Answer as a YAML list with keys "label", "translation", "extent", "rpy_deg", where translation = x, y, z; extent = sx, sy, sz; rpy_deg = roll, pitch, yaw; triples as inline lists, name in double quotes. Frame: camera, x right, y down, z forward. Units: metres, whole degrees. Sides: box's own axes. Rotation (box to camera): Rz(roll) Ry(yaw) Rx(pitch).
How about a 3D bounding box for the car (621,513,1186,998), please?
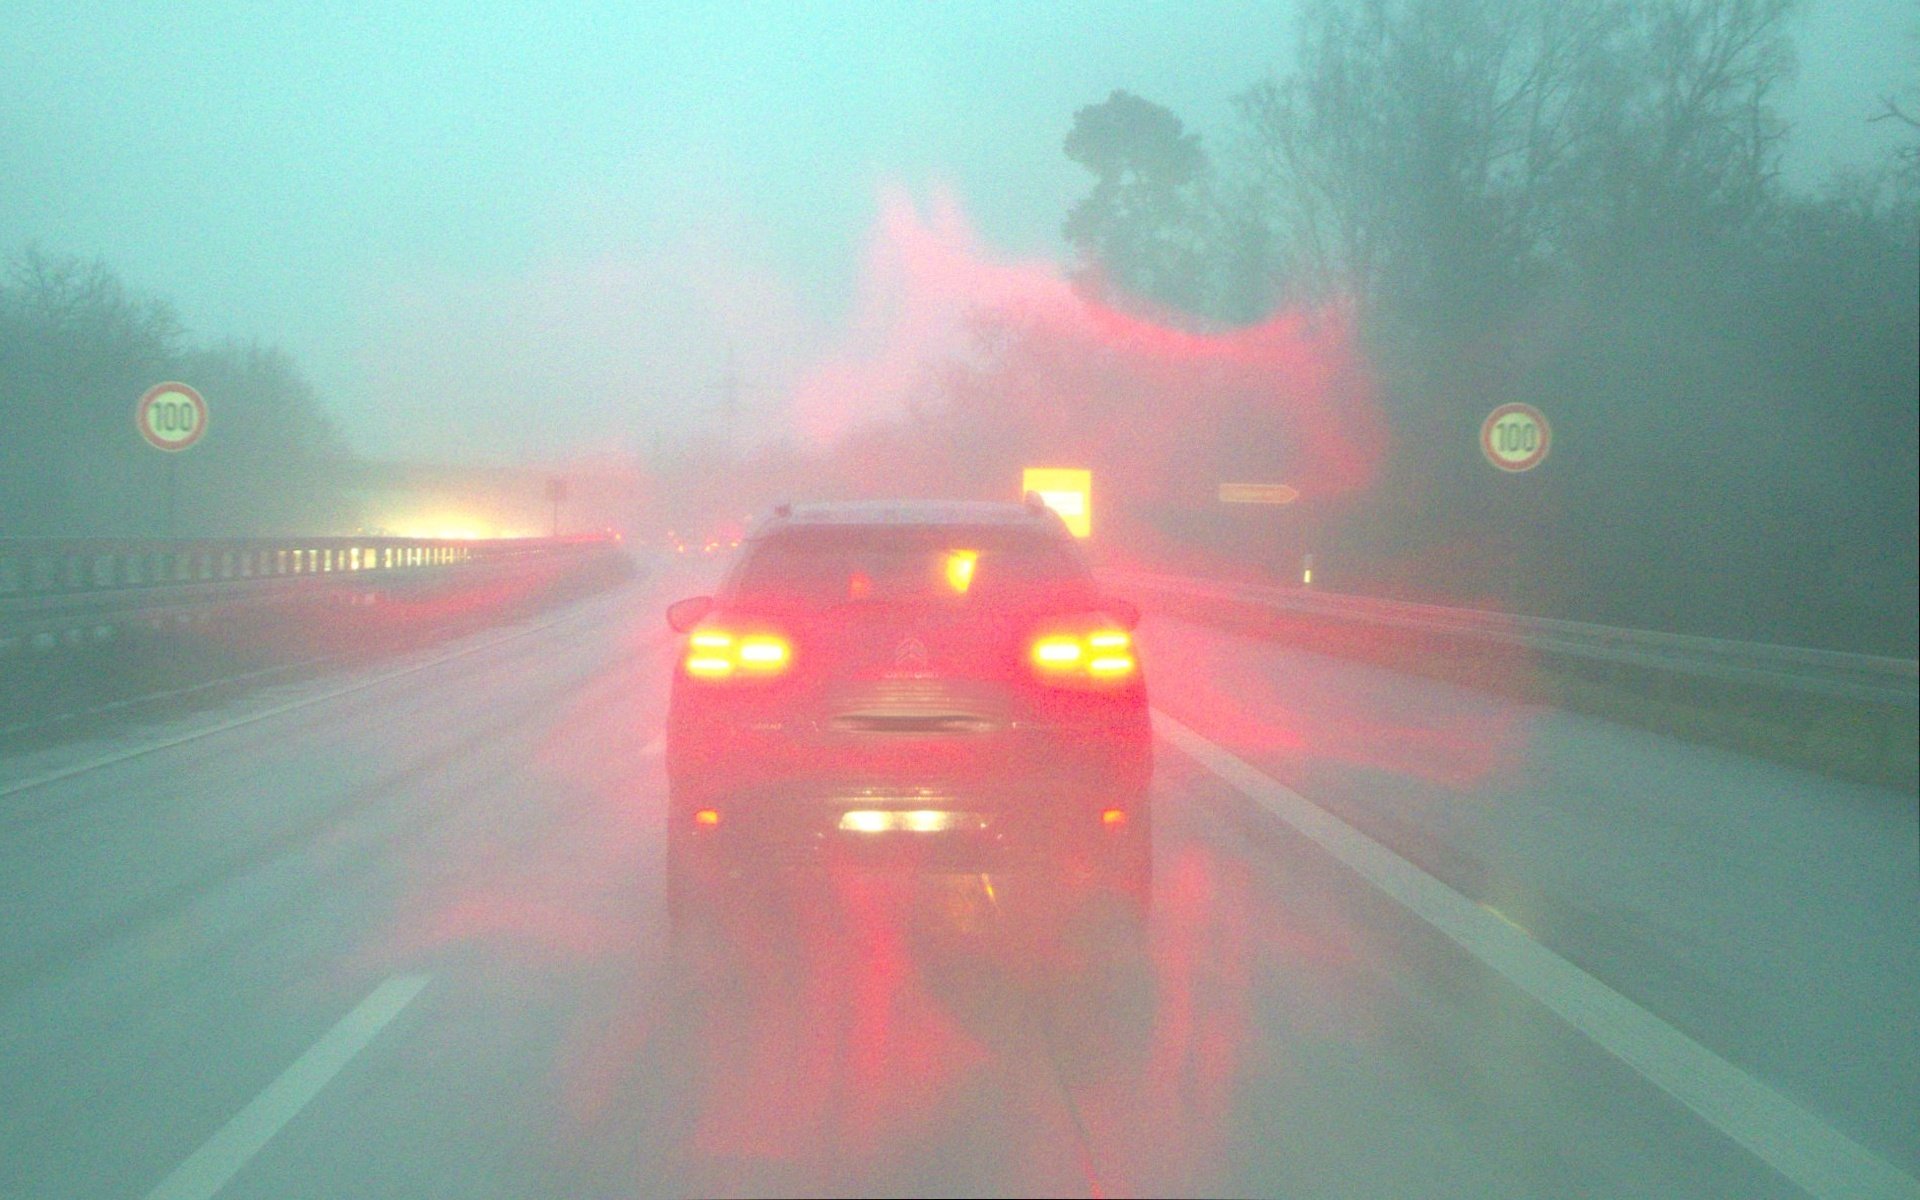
- label: "car"
  translation: [-0.252, 0.524, 14.132]
  extent: [1.992, 1.709, 3.830]
  rpy_deg: [1, 1, -2]

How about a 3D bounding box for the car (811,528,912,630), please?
- label: "car"
  translation: [-2.031, -0.450, 70.456]
  extent: [1.993, 2.007, 4.000]
  rpy_deg: [1, 1, -2]
